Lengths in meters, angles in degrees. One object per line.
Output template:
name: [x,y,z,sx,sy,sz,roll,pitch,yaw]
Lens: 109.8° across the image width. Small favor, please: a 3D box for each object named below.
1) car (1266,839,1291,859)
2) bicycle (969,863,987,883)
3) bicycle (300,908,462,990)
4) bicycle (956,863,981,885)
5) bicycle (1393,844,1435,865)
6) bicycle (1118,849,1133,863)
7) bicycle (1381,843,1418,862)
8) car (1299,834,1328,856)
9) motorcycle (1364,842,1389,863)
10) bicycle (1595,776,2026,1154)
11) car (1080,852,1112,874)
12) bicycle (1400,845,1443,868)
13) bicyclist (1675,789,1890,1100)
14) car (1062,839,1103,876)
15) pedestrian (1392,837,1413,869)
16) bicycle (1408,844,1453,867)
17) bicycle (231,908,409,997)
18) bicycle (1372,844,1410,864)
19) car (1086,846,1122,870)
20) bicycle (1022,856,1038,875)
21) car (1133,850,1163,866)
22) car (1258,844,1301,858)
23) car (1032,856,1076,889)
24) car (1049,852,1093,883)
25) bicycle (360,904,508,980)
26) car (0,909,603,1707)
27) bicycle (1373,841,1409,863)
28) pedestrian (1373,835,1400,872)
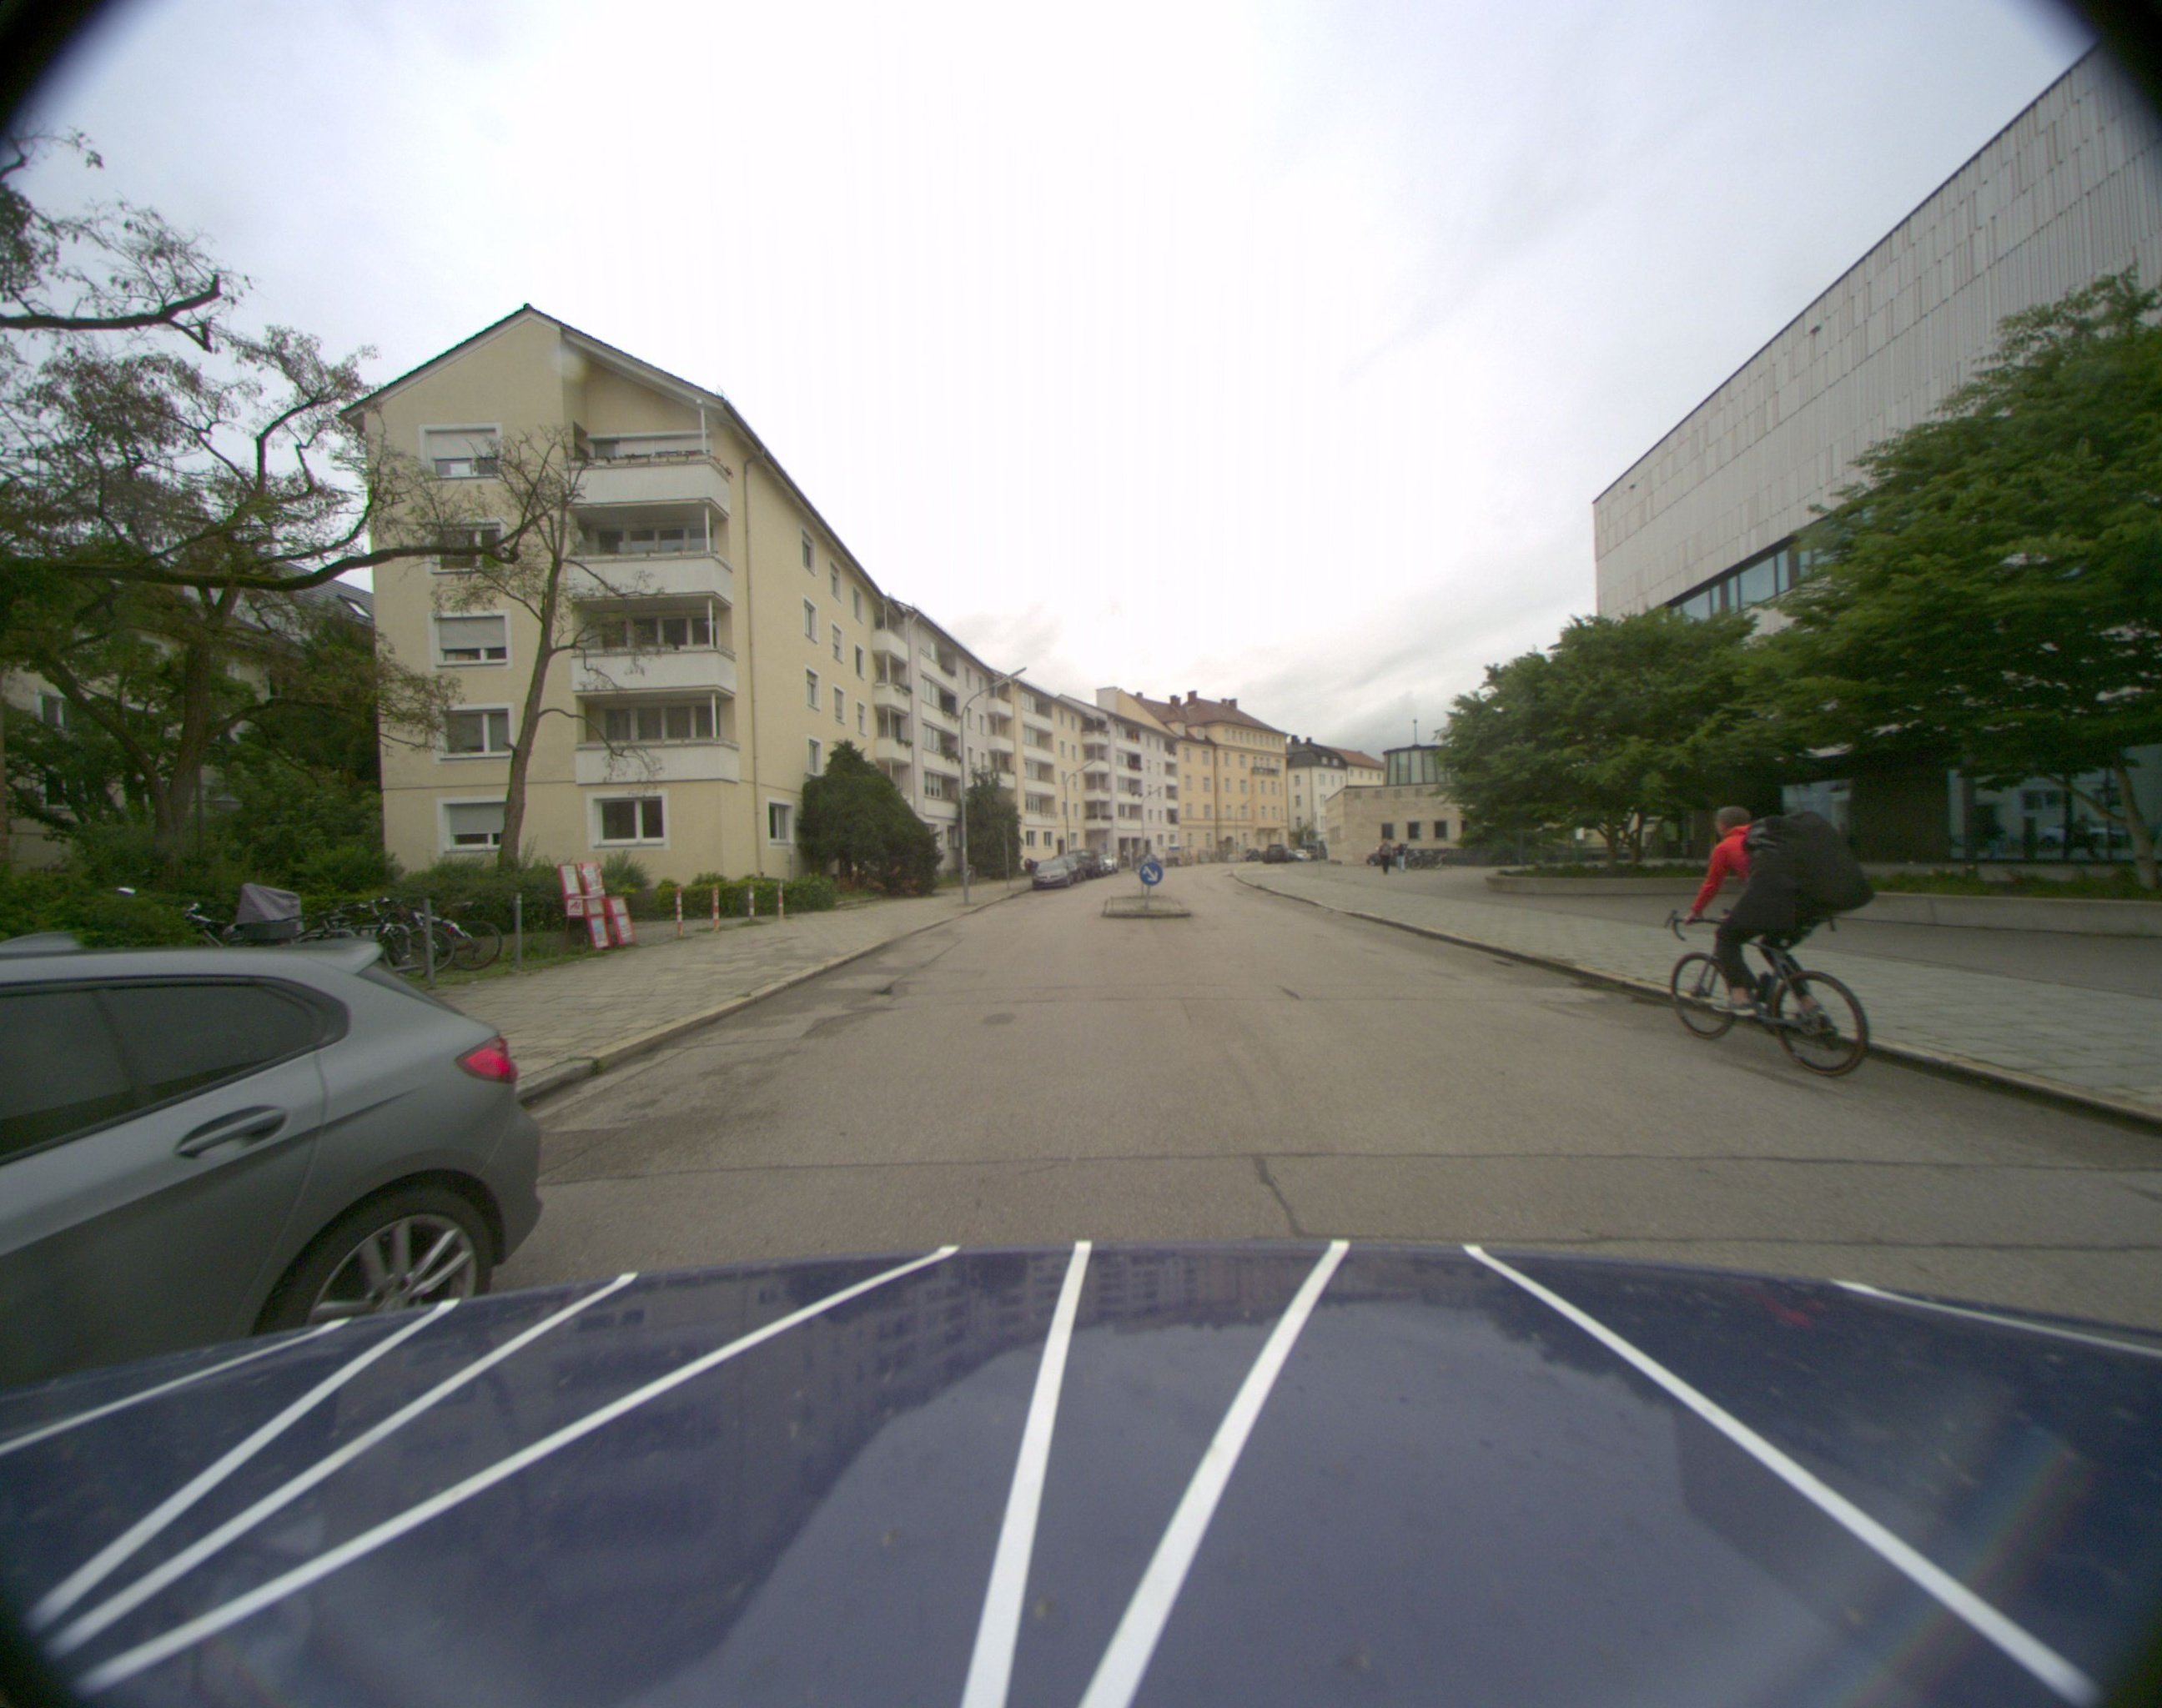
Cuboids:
car: [18.663,-0.437,71.619,1.996,1.761,4.821,-2,-1,17]
bicycle: [-5.957,1.066,43.890,0.468,1.111,1.945,-1,0,10]
bicycle: [-9.462,1.271,10.295,1.704,0.960,0.546,-4,-1,4]
bicycle: [-6.131,1.072,41.515,0.467,1.111,1.947,-1,0,21]
bicycle: [19.218,0.027,43.890,2.050,1.104,0.617,-4,-1,6]
bicycle: [4.361,0.209,74.741,0.811,1.315,2.778,0,1,17]
bicycle: [20.823,-0.070,49.704,2.049,1.104,0.617,-4,-1,8]
car: [28.947,-1.149,94.454,2.145,2.559,6.223,0,1,30]
motorcycle: [21.718,-0.107,55.942,1.567,1.397,0.515,-4,-1,11]
bicycle: [4.855,0.602,5.490,0.749,2.002,2.850,0,0,9]
car: [1.078,0.611,53.300,1.661,1.341,3.806,-4,1,9]
bicycle: [18.930,0.138,42.288,2.050,1.104,0.617,-4,-1,6]
bicyclist: [4.872,0.586,5.343,0.768,2.002,0.768,1,0,8]
car: [0.154,0.226,47.796,1.750,2.069,4.519,-4,-1,10]
pedestrian: [16.753,-0.056,39.599,0.645,1.591,0.605,-3,-1,-16]
bicycle: [18.813,0.092,40.882,2.050,1.104,0.617,-4,-1,6]
bicycle: [-9.513,1.217,9.524,1.704,0.960,0.546,-4,-1,4]
bicycle: [19.681,0.010,48.268,2.049,1.104,0.617,-4,-1,13]
car: [1.830,0.306,57.912,2.030,1.668,4.616,-4,-1,9]
bicycle: [-3.773,0.840,56.656,0.744,1.359,2.472,1,1,7]
car: [6.462,0.341,72.489,1.832,1.434,4.635,1,1,18]
car: [21.007,-0.314,80.466,4.007,1.365,1.747,0,2,-9]
car: [-1.280,0.906,38.190,1.758,1.388,4.045,-4,1,3]
car: [-0.489,0.729,43.167,1.661,1.556,4.517,-4,0,9]
bicycle: [-9.430,1.272,11.090,1.704,0.960,0.546,-4,-1,4]
car: [-2.925,1.021,0.703,1.929,1.503,4.392,-4,0,3]
bicycle: [21.039,-0.121,51.652,2.102,1.343,0.614,-4,-1,8]
pedestrian: [15.176,-0.022,37.755,0.788,1.772,1.014,-4,1,-2]
